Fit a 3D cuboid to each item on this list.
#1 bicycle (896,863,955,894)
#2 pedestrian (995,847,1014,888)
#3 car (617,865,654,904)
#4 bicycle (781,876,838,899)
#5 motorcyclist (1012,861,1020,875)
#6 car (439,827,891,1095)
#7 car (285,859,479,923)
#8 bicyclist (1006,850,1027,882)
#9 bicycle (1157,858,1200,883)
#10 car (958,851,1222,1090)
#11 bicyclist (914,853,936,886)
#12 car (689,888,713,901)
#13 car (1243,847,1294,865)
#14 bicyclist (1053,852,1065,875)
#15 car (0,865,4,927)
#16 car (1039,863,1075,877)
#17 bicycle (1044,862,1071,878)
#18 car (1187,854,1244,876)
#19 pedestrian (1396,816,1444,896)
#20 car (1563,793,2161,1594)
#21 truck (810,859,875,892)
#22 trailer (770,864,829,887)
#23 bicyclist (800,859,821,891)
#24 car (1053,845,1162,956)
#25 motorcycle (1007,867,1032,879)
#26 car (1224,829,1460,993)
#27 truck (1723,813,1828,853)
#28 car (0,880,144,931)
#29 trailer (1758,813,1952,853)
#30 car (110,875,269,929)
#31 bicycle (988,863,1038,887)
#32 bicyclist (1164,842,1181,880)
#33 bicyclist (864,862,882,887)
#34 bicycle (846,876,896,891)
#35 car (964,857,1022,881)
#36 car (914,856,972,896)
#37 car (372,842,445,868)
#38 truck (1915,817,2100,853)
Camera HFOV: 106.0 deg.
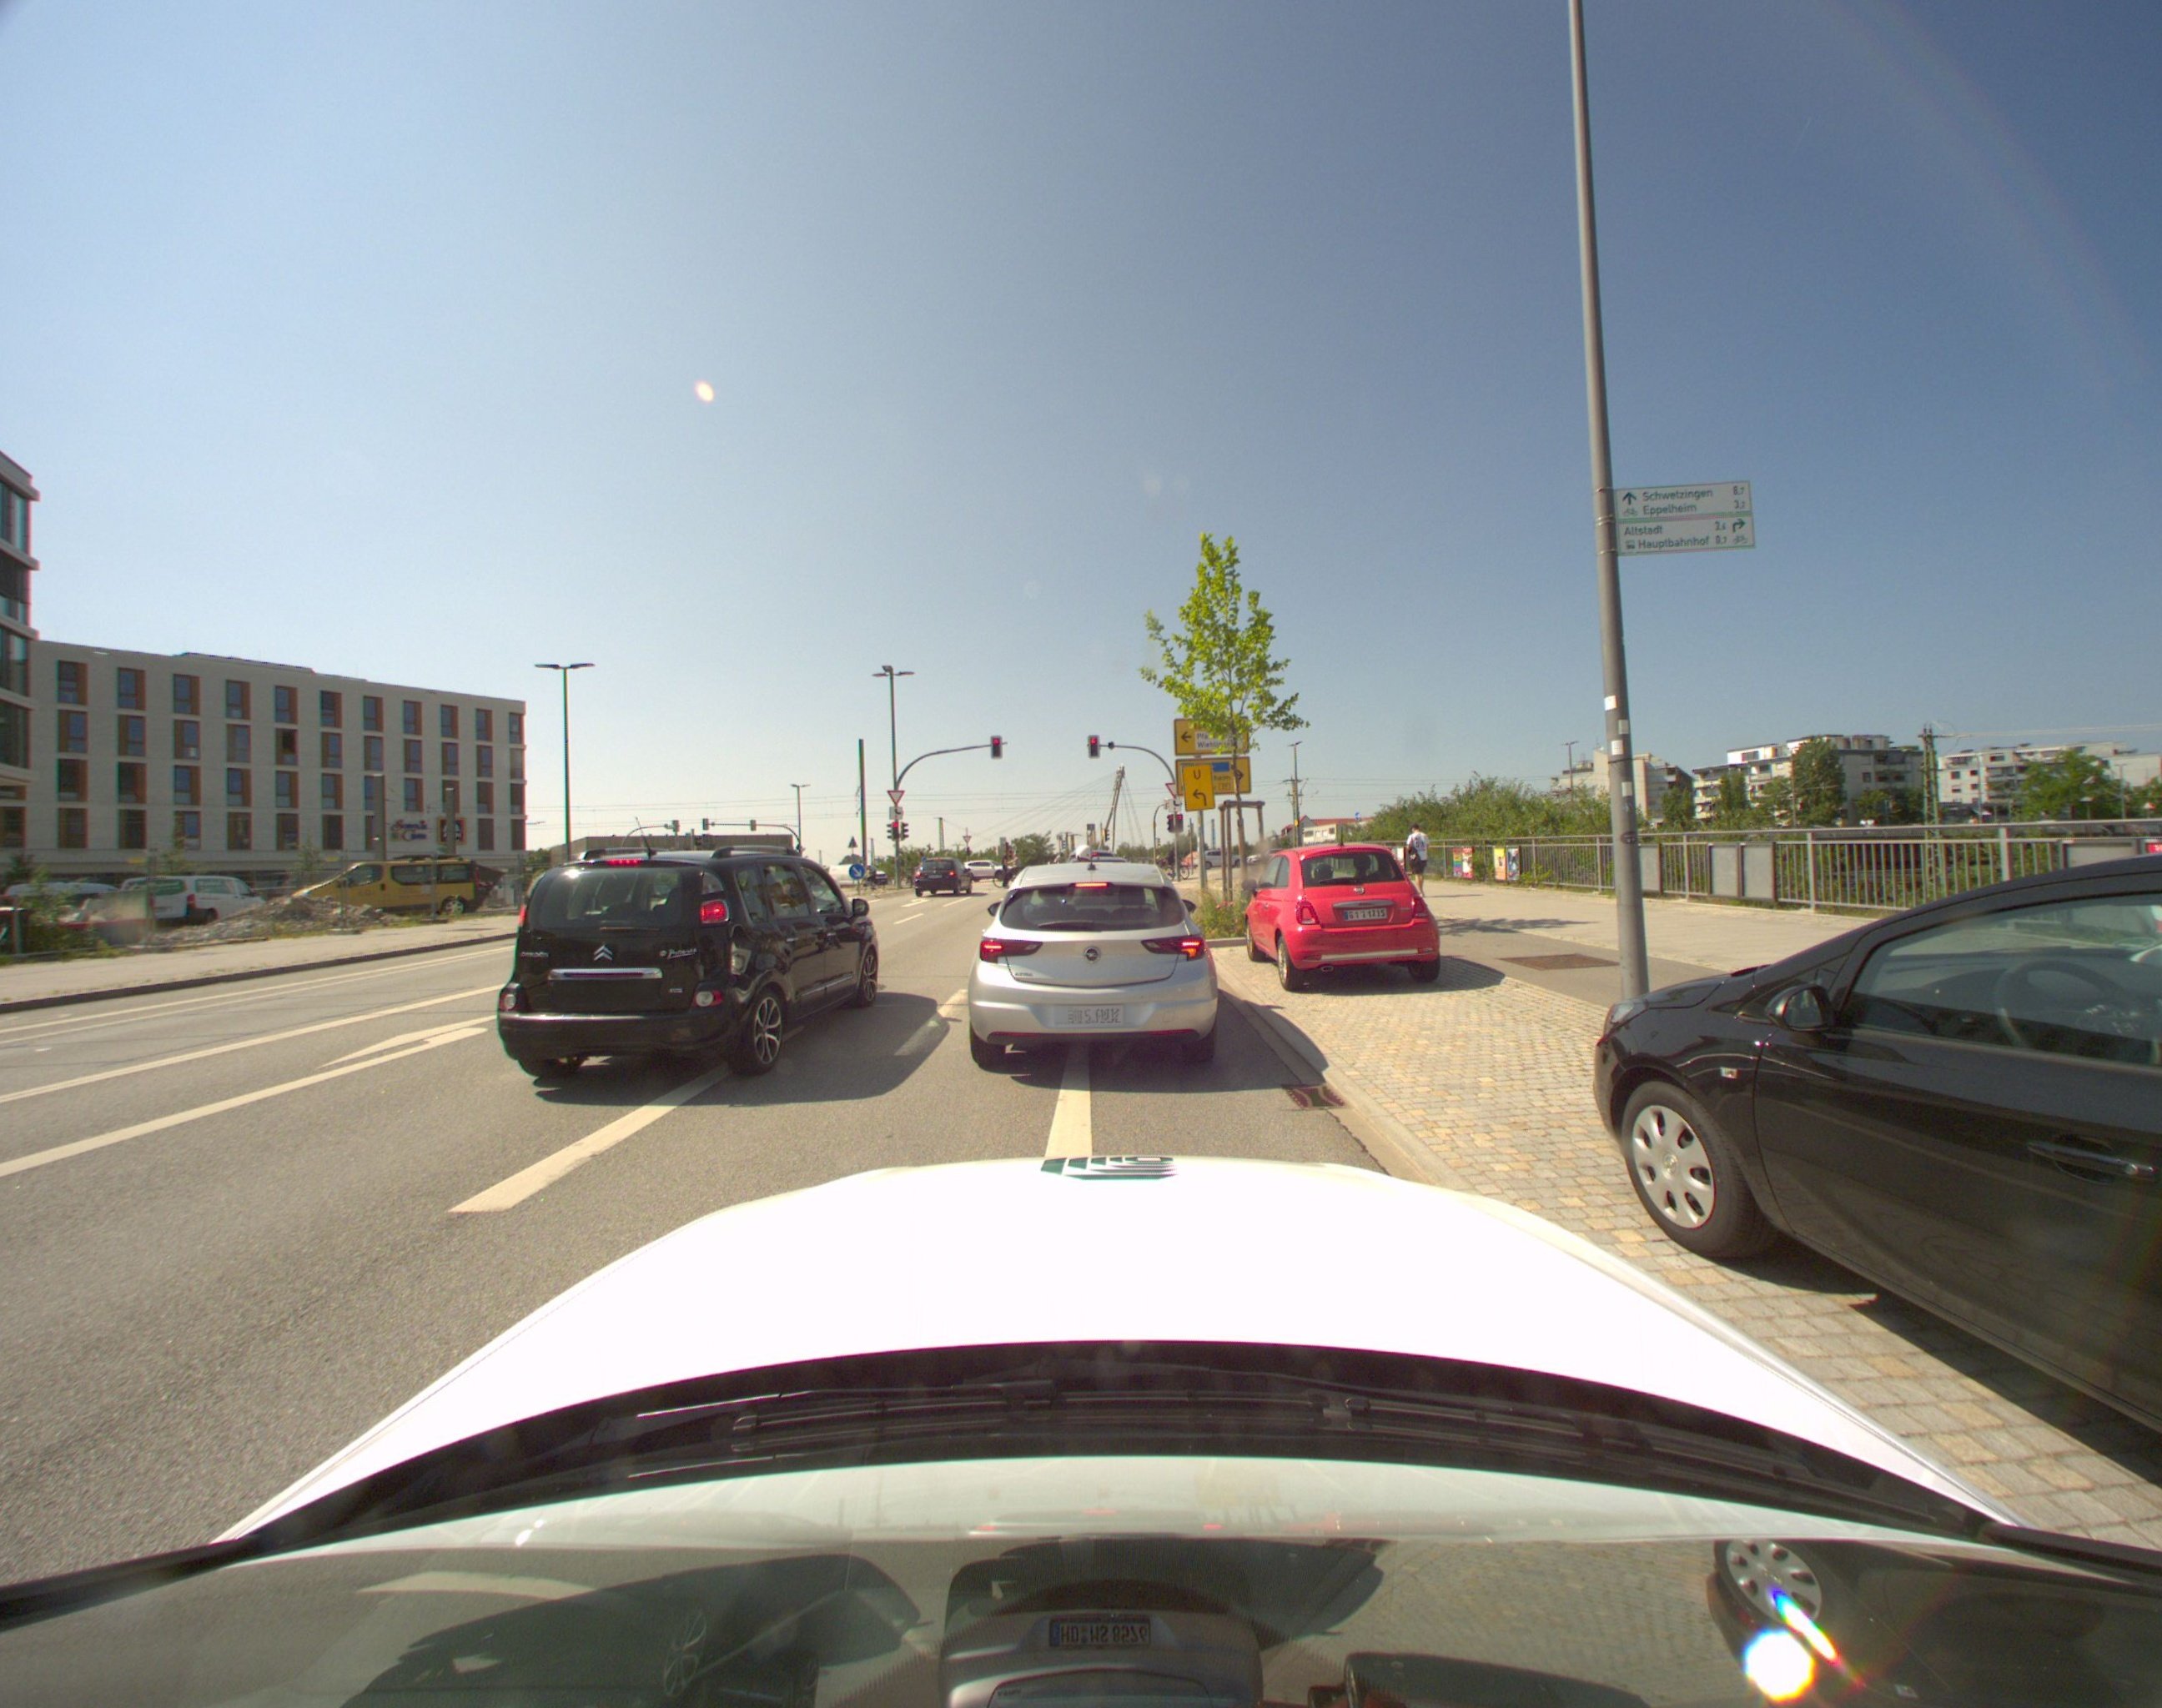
[{"bbox_3d":[-7.332,1.158,38.532,2.516,1.134,0.728,-6,1,0],"label":"bicycle"},{"bbox_3d":[-3.552,0.632,37.843,0.742,1.863,0.749,0,-1,-20],"label":"pedestrian"},{"bbox_3d":[-24.549,1.648,44.962,1.679,2.014,3.964,0,-1,-27],"label":"car"},{"bbox_3d":[-12.821,1.564,38.446,2.494,1.007,0.605,-1,-1,2],"label":"bicycle"},{"bbox_3d":[-6.762,1.432,84.840,0.806,1.476,0.885,0,-1,1],"label":"motorcyclist"},{"bbox_3d":[-3.062,0.697,7.043,1.797,1.622,3.917,-2,-1,1],"label":"car"},{"bbox_3d":[-22.610,1.132,26.507,1.974,1.890,4.514,-1,-1,40],"label":"car"},{"bbox_3d":[-3.116,0.582,39.337,0.942,1.569,0.822,0,-1,-1],"label":"bicyclist"},{"bbox_3d":[4.792,0.795,39.959,2.088,1.178,0.551,-1,-1,-21],"label":"bicycle"},{"bbox_3d":[0.106,0.767,7.401,1.685,1.520,4.271,-1,0,1],"label":"car"},{"bbox_3d":[-7.366,0.730,38.514,0.818,1.560,0.864,0,-1,4],"label":"bicyclist"},{"bbox_3d":[-36.815,3.923,78.836,2.453,1.240,1.287,-2,-1,45],"label":"car"},{"bbox_3d":[17.745,0.173,76.987,4.254,1.673,1.989,0,-1,-16],"label":"car"},{"bbox_3d":[-1.563,0.682,57.320,0.768,1.610,0.950,0,-1,3],"label":"bicyclist"},{"bbox_3d":[-36.241,1.375,25.015,2.220,2.056,4.133,0,-1,-28],"label":"car"},{"bbox_3d":[-2.219,1.468,75.860,3.212,1.304,1.518,0,-1,-11],"label":"car"},{"bbox_3d":[-1.658,1.134,57.329,1.857,1.068,0.579,0,-1,5],"label":"bicycle"},{"bbox_3d":[10.466,0.877,63.443,3.973,1.551,1.670,-2,-1,-9],"label":"car"},{"bbox_3d":[7.895,0.047,18.976,0.755,1.830,0.885,0,-1,1],"label":"pedestrian"},{"bbox_3d":[2.873,0.631,1.716,1.576,1.555,3.548,-4,0,1],"label":"car"},{"bbox_3d":[-18.625,1.676,63.665,4.651,2.540,2.011,-1,-1,24],"label":"truck"},{"bbox_3d":[-22.578,1.724,65.364,4.233,1.776,2.011,-1,-1,24],"label":"trailer"},{"bbox_3d":[-12.784,0.981,38.459,0.654,1.502,0.844,0,-1,3],"label":"bicyclist"},{"bbox_3d":[0.440,0.728,14.119,1.629,1.674,3.745,0,-1,1],"label":"car"},{"bbox_3d":[-6.420,2.009,84.829,2.528,1.233,0.648,0,-1,0],"label":"motorcycle"},{"bbox_3d":[2.943,0.558,10.073,1.663,1.540,3.917,-3,0,1],"label":"car"},{"bbox_3d":[58.974,-1.744,69.243,6.478,3.204,3.721,0,-1,-14],"label":"truck"},{"bbox_3d":[-33.735,1.659,27.195,1.809,1.508,3.965,0,-1,-27],"label":"car"},{"bbox_3d":[67.997,-1.735,71.525,17.225,3.204,3.723,0,-1,-14],"label":"trailer"},{"bbox_3d":[-31.100,1.604,28.641,2.003,1.707,4.526,0,-1,-23],"label":"car"},{"bbox_3d":[-3.268,1.015,39.315,2.351,1.127,0.677,0,-1,-2],"label":"bicycle"},{"bbox_3d":[4.489,0.346,39.854,0.596,1.887,0.632,0,-1,-20],"label":"bicyclist"},{"bbox_3d":[-9.982,0.964,39.044,0.654,1.175,0.731,0,-1,3],"label":"bicyclist"},{"bbox_3d":[-10.052,1.407,39.047,2.237,0.692,0.516,-1,-1,2],"label":"bicycle"},{"bbox_3d":[-6.827,1.159,63.449,4.001,1.815,1.940,-1,-1,17],"label":"car"},{"bbox_3d":[-5.223,0.830,31.179,1.581,1.395,3.340,-1,-1,1],"label":"car"},{"bbox_3d":[-54.283,0.095,65.797,3.990,2.014,1.991,0,-1,-12],"label":"car"},{"bbox_3d":[87.218,-1.698,76.639,17.857,3.204,3.723,0,-1,-14],"label":"truck"}]
